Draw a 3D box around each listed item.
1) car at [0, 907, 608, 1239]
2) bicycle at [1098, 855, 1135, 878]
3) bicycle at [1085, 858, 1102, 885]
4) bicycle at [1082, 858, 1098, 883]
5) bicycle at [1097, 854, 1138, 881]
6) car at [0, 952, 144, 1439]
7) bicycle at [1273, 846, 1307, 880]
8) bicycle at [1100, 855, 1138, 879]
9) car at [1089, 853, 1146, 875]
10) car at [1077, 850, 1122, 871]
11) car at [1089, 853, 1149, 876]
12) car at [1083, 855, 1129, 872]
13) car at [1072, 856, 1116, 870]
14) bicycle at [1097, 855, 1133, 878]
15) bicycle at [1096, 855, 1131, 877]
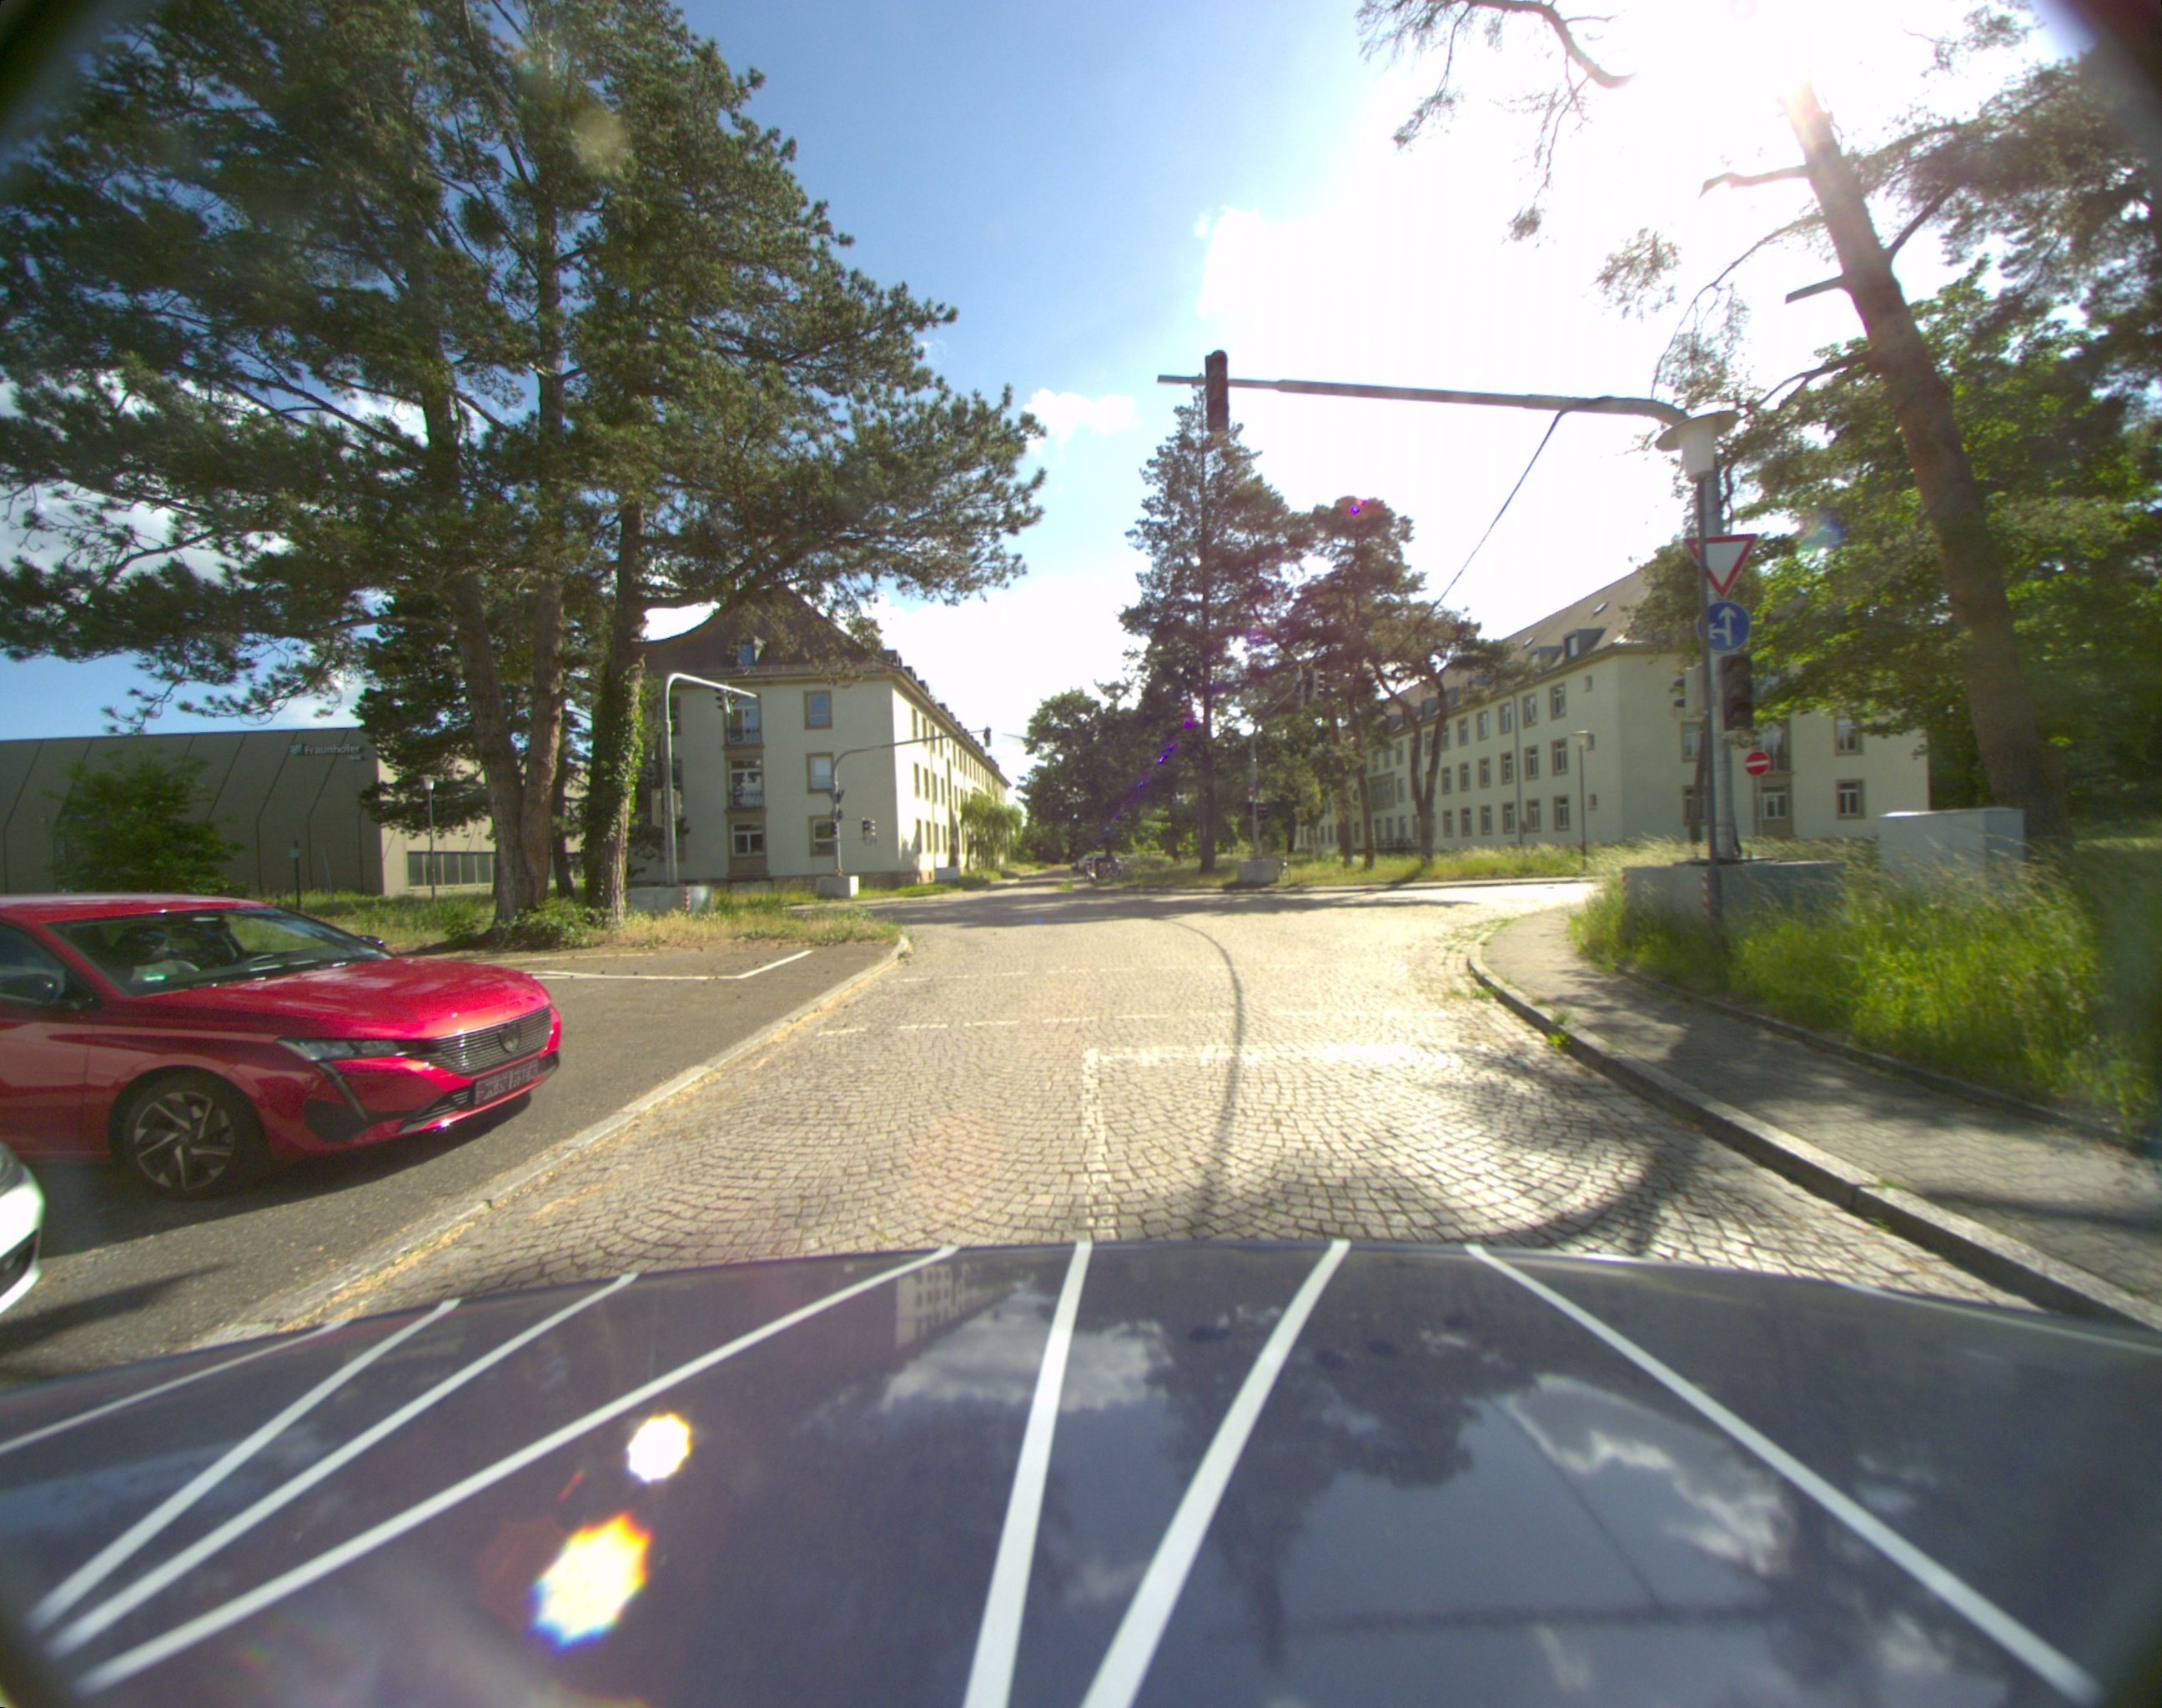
[{"bbox_3d":[-5.679,1.094,4.487,4.548,1.413,1.894,0,1,-1],"label":"car"},{"bbox_3d":[2.182,0.769,46.442,2.114,1.276,0.621,-4,1,-6],"label":"bicycle"},{"bbox_3d":[0.636,0.917,40.022,0.621,1.342,2.114,-4,1,-4],"label":"bicycle"},{"bbox_3d":[0.476,0.906,42.197,0.621,1.276,2.114,-4,1,-4],"label":"bicycle"},{"bbox_3d":[2.070,0.751,43.363,2.114,1.276,0.621,-8,1,-3],"label":"bicycle"},{"bbox_3d":[-5.567,1.080,1.673,4.525,1.456,1.838,0,1,-3],"label":"car"},{"bbox_3d":[8.449,0.348,30.798,0.621,1.276,2.114,-5,0,-2],"label":"bicycle"},{"bbox_3d":[2.298,0.760,45.614,2.114,1.276,0.621,-4,1,-6],"label":"bicycle"},{"bbox_3d":[2.770,0.758,58.218,4.044,1.514,1.817,-2,1,-8],"label":"car"},{"bbox_3d":[1.818,0.621,75.570,4.227,1.903,1.816,-2,1,-10],"label":"car"},{"bbox_3d":[2.731,0.751,55.193,4.044,1.493,1.817,-2,1,-8],"label":"car"},{"bbox_3d":[2.272,0.866,69.953,4.044,1.355,1.817,-2,1,-7],"label":"car"},{"bbox_3d":[1.361,0.883,78.724,4.227,1.294,1.816,-2,1,-10],"label":"car"},{"bbox_3d":[2.110,0.764,47.286,2.114,1.276,0.621,-4,1,-4],"label":"bicycle"},{"bbox_3d":[2.060,0.760,48.190,2.114,1.276,0.621,-4,1,-4],"label":"bicycle"}]
